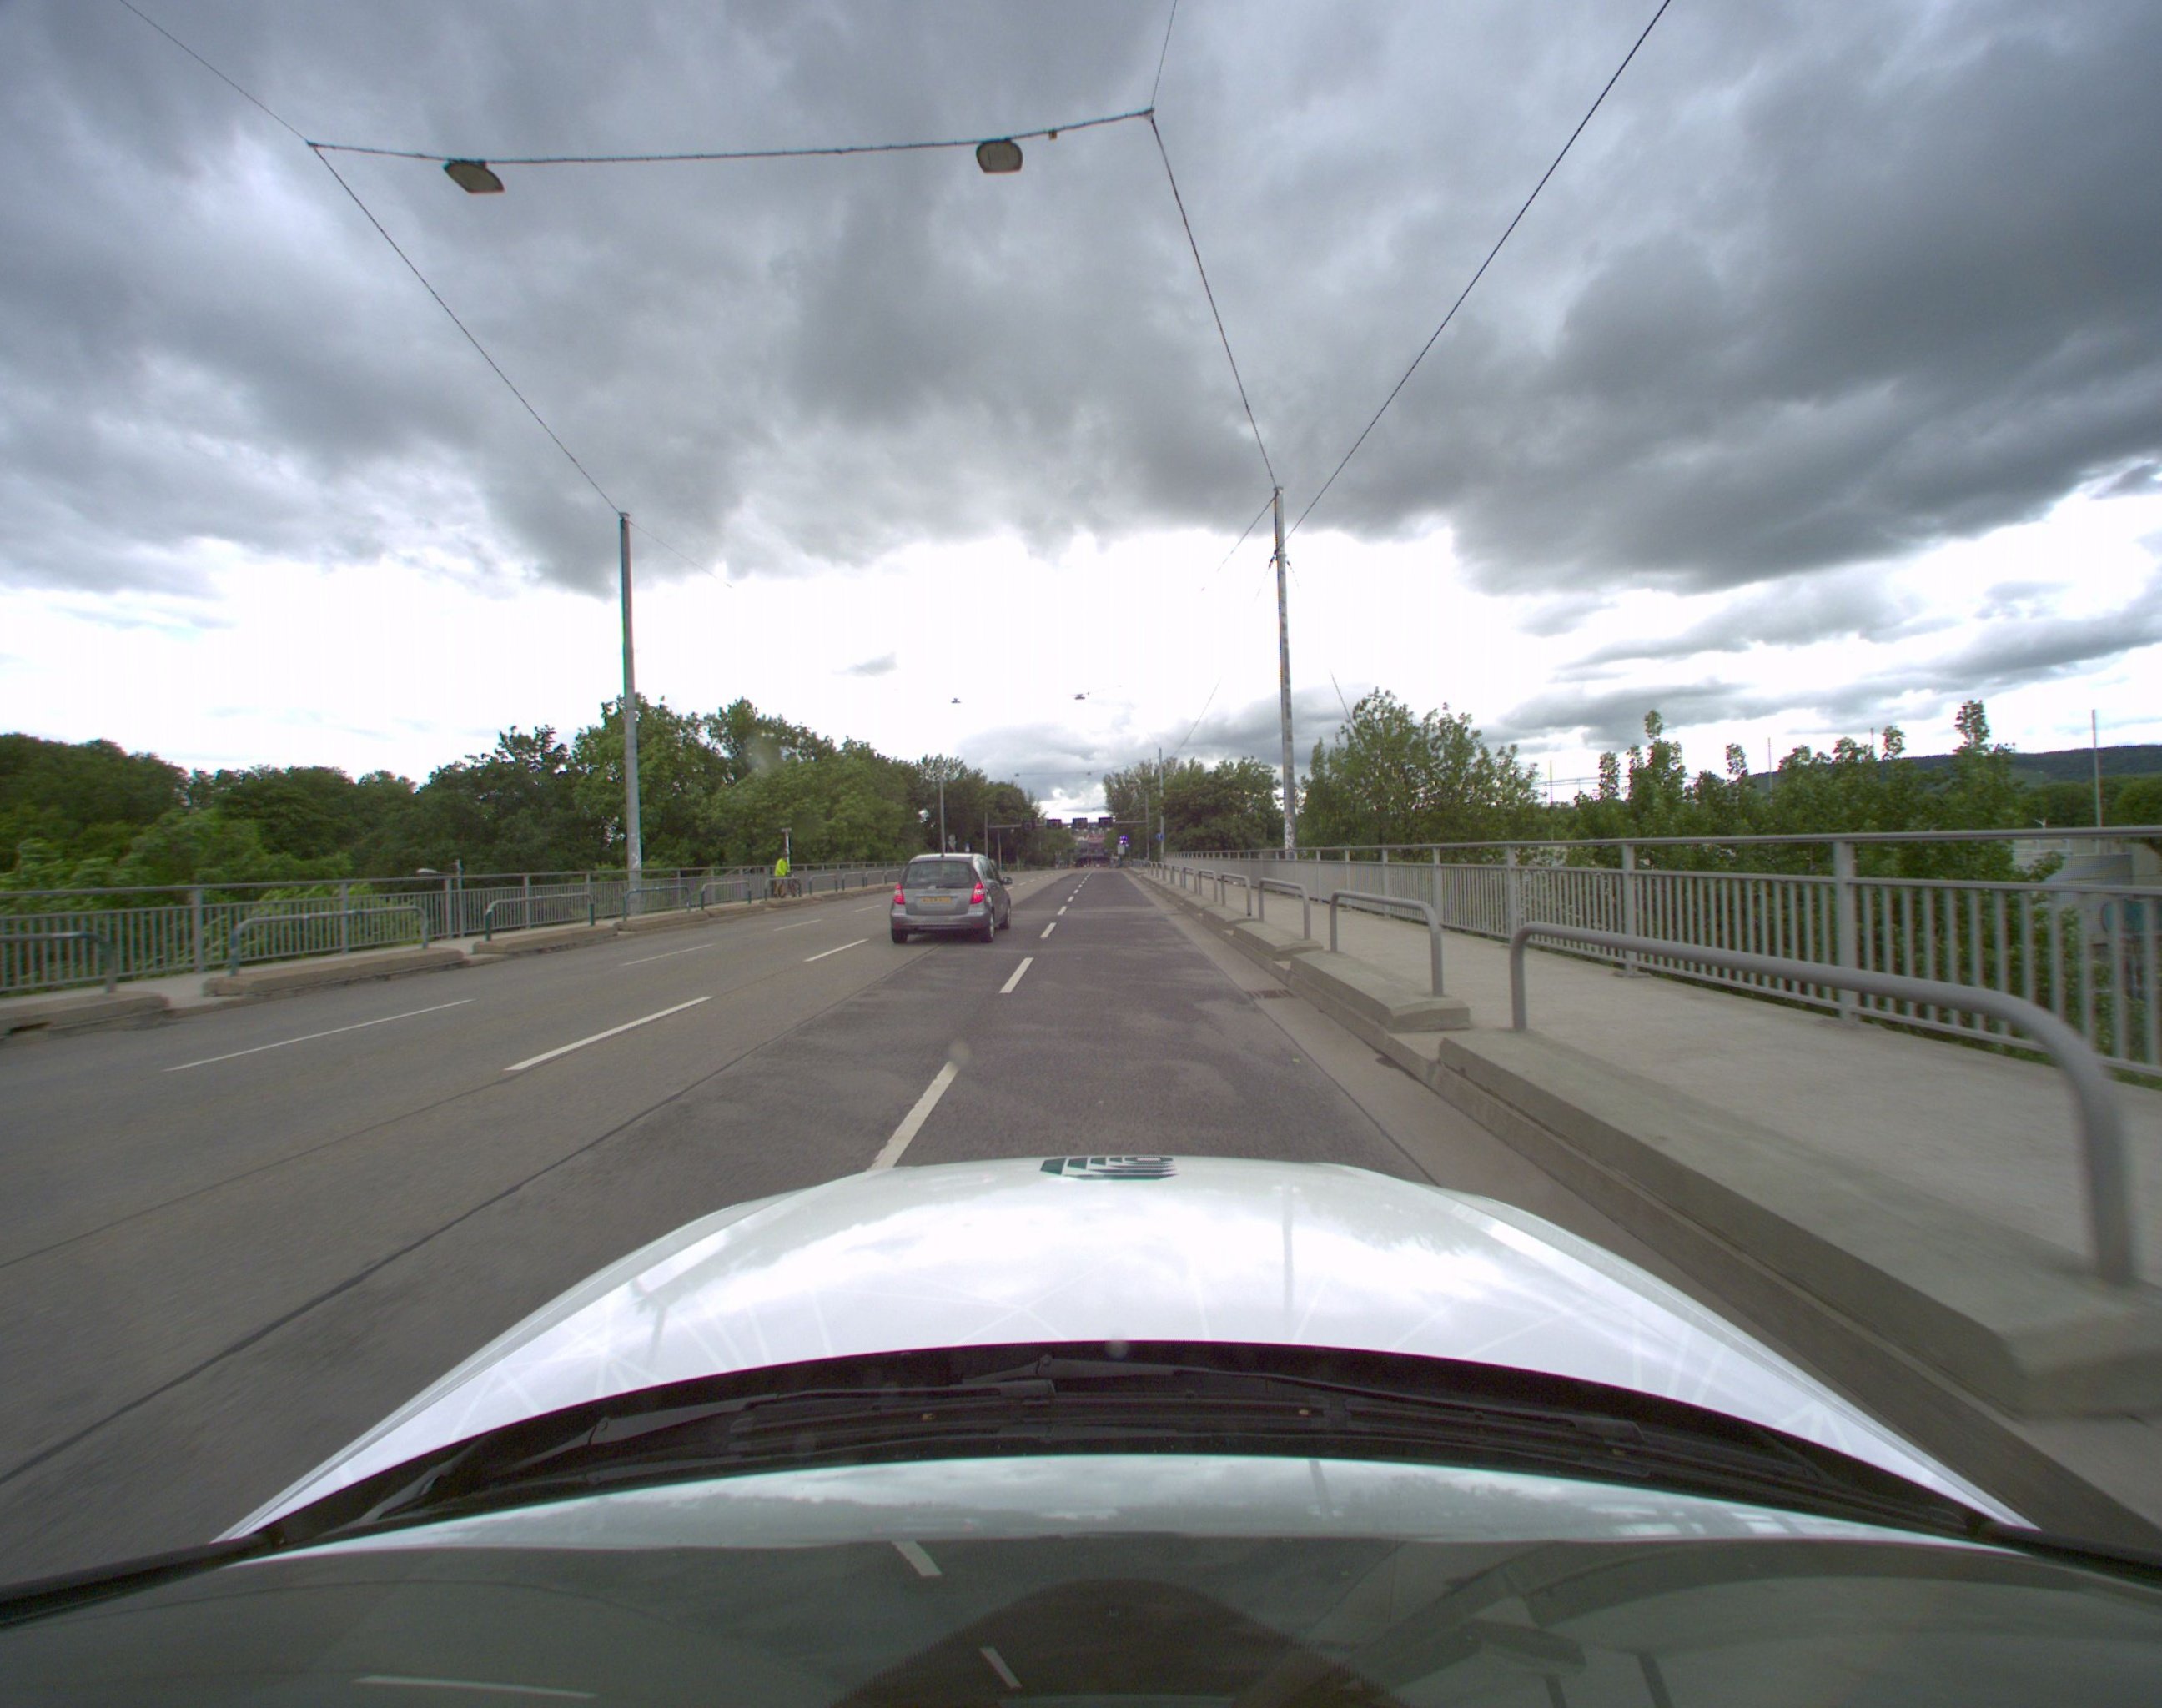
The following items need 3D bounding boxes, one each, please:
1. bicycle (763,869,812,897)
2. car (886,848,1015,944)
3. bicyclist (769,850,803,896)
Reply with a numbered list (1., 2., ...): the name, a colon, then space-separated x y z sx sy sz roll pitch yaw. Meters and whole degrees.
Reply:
1. bicycle: -11.723 1.123 32.451 0.925 1.051 2.767 -2 0 -39
2. car: -2.335 0.679 15.516 1.739 1.550 3.872 -1 1 1
3. bicyclist: -11.783 0.752 32.519 0.910 1.764 1.123 -1 0 -40
